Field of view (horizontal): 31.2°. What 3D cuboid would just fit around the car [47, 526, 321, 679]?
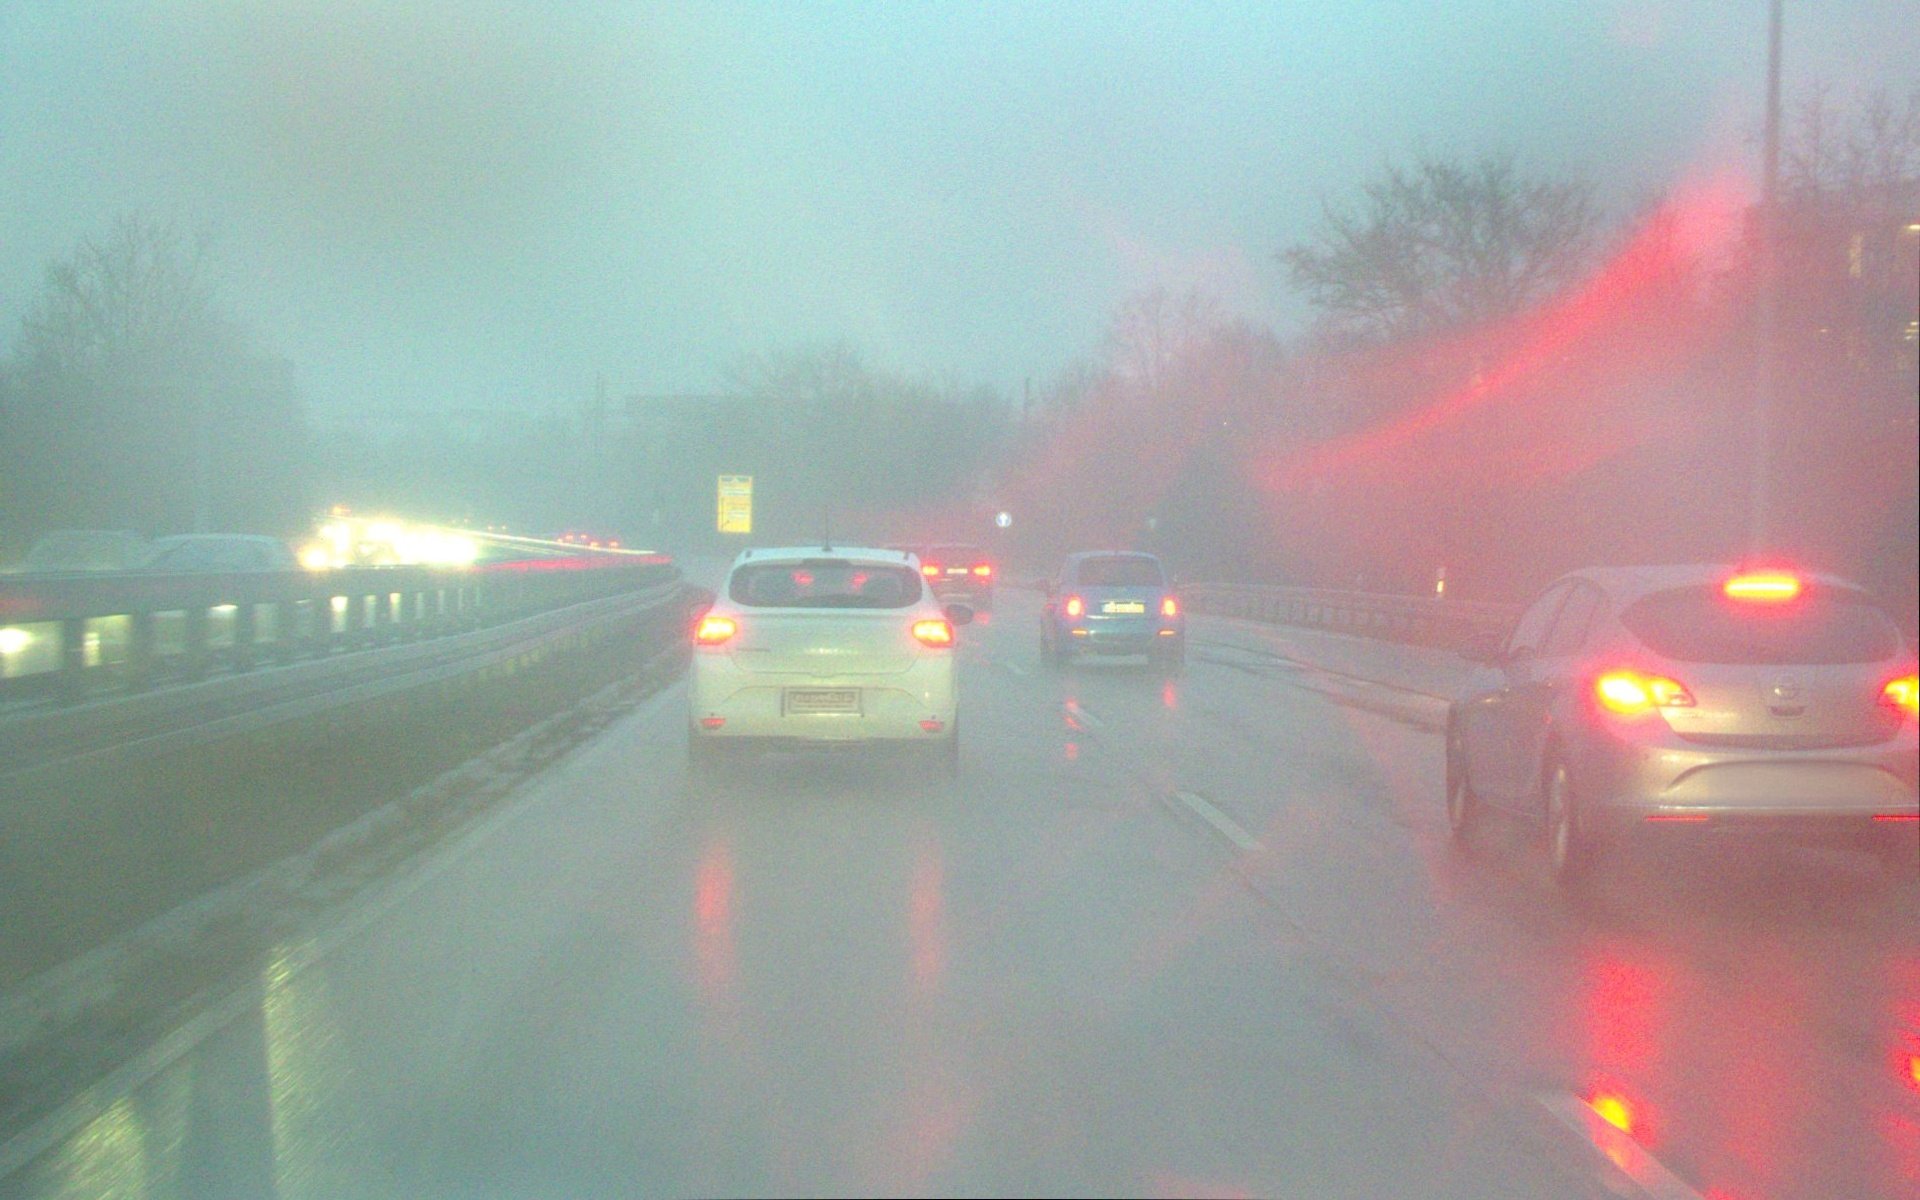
[{"bbox_3d":[-7.895,-0.004,35.387,1.866,1.444,4.646,1,1,-2],"label":"car"}]

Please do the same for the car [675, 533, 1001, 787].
[{"bbox_3d":[-0.906,0.351,23.664,2.024,1.569,4.001,1,1,-4],"label":"car"}]

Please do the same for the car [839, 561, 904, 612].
[{"bbox_3d":[-2.818,-0.437,108.869,1.932,1.541,3.774,1,1,-3],"label":"car"}]

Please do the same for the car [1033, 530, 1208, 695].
[{"bbox_3d":[2.041,0.133,44.672,1.932,2.012,3.774,1,1,-2],"label":"car"}]

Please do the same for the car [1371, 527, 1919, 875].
[{"bbox_3d":[3.331,0.418,17.179,1.849,1.496,4.263,1,1,-2],"label":"car"}]

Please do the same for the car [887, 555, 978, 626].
[{"bbox_3d":[-0.709,-0.248,85.493,1.932,1.541,3.774,-5,1,-4],"label":"car"}]
